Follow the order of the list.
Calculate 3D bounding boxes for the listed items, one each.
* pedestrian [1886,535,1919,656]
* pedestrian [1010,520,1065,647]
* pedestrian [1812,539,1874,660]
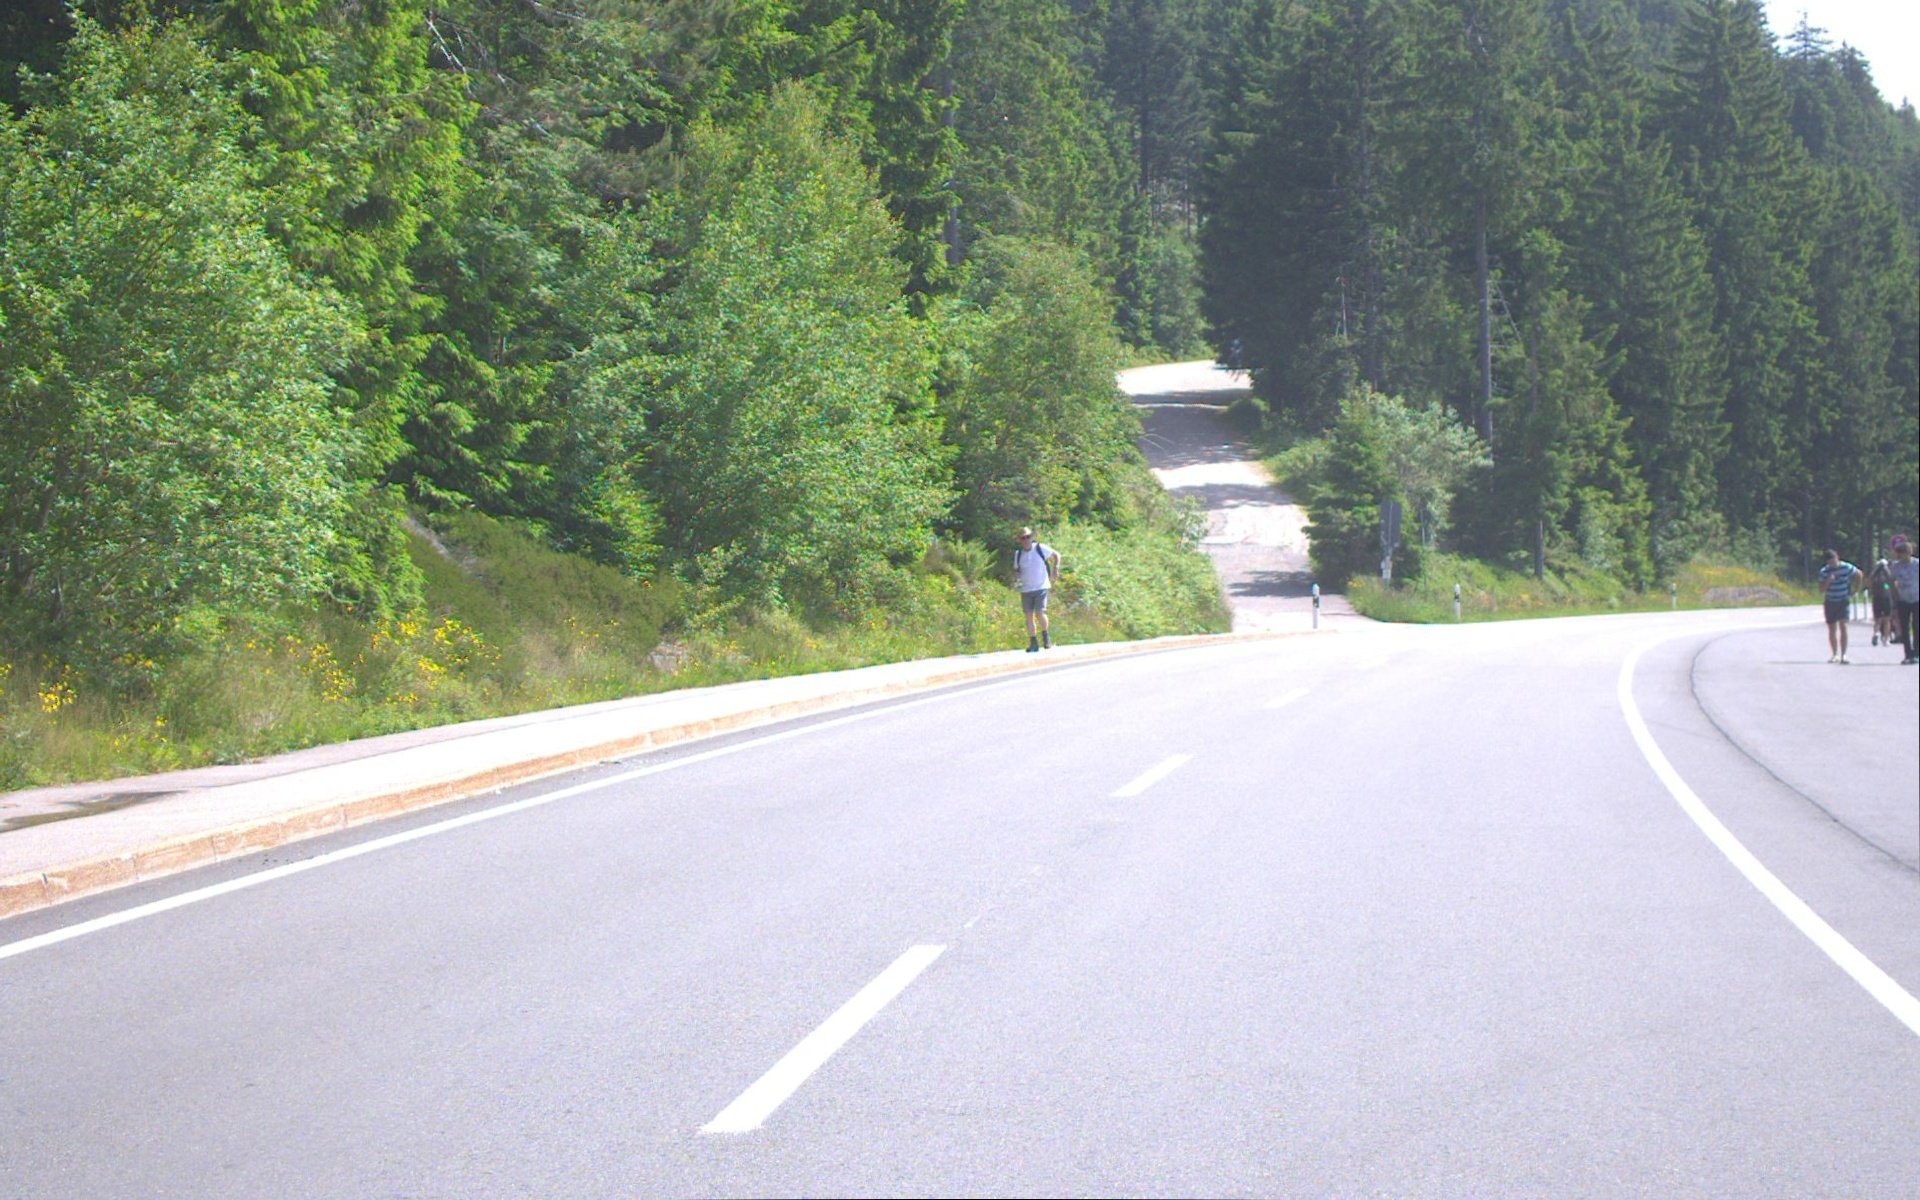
[{"bbox_3d":[13.835,-0.080,49.835,0.666,1.735,0.893,0,1,24],"label":"pedestrian"},{"bbox_3d":[1.076,-0.232,47.765,0.682,1.740,0.825,1,1,6],"label":"pedestrian"},{"bbox_3d":[12.925,-0.012,50.292,0.754,1.754,0.774,0,1,24],"label":"pedestrian"}]
